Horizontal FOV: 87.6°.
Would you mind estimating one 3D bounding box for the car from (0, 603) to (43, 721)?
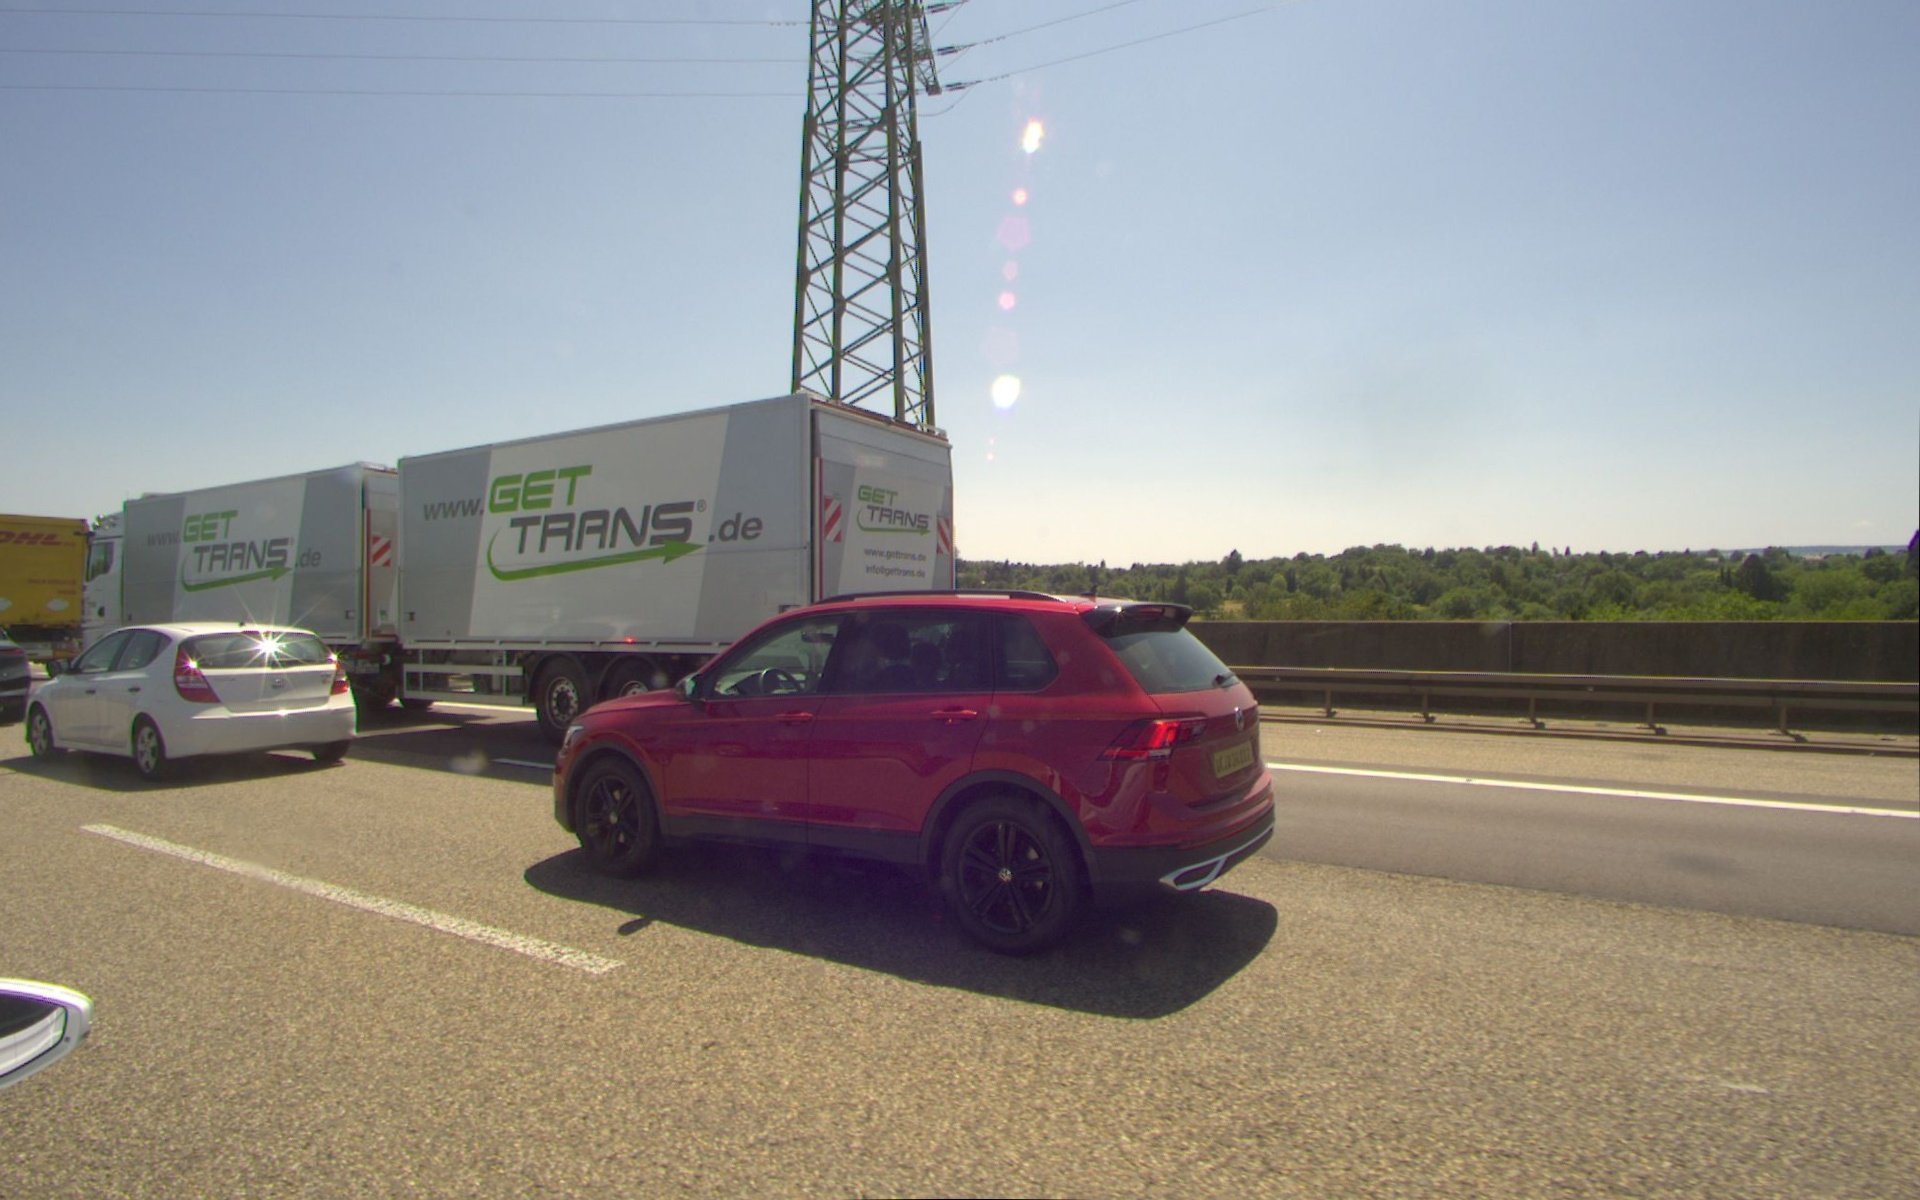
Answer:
[{"bbox_3d":[-15.573,0.887,14.787,4.231,1.666,1.958,-1,-1,32],"label":"car"}]

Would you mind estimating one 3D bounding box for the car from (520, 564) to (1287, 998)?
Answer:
[{"bbox_3d":[-0.456,0.742,5.753,4.163,1.683,1.772,-1,-1,32],"label":"car"}]

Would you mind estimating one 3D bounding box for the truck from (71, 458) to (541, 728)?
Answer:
[{"bbox_3d":[-11.954,-0.026,17.686,10.851,3.695,2.652,-1,0,32],"label":"truck"}]

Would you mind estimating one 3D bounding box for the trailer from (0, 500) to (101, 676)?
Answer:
[{"bbox_3d":[-26.867,-0.200,27.208,8.883,4.293,2.860,-1,-2,32],"label":"trailer"}]

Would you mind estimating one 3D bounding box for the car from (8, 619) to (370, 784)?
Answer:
[{"bbox_3d":[-8.427,0.947,10.859,4.231,1.474,1.785,-1,-1,32],"label":"car"}]

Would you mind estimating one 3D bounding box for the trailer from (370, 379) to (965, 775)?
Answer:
[{"bbox_3d":[-3.992,-0.161,12.710,7.899,3.748,2.693,-1,0,32],"label":"trailer"}]
